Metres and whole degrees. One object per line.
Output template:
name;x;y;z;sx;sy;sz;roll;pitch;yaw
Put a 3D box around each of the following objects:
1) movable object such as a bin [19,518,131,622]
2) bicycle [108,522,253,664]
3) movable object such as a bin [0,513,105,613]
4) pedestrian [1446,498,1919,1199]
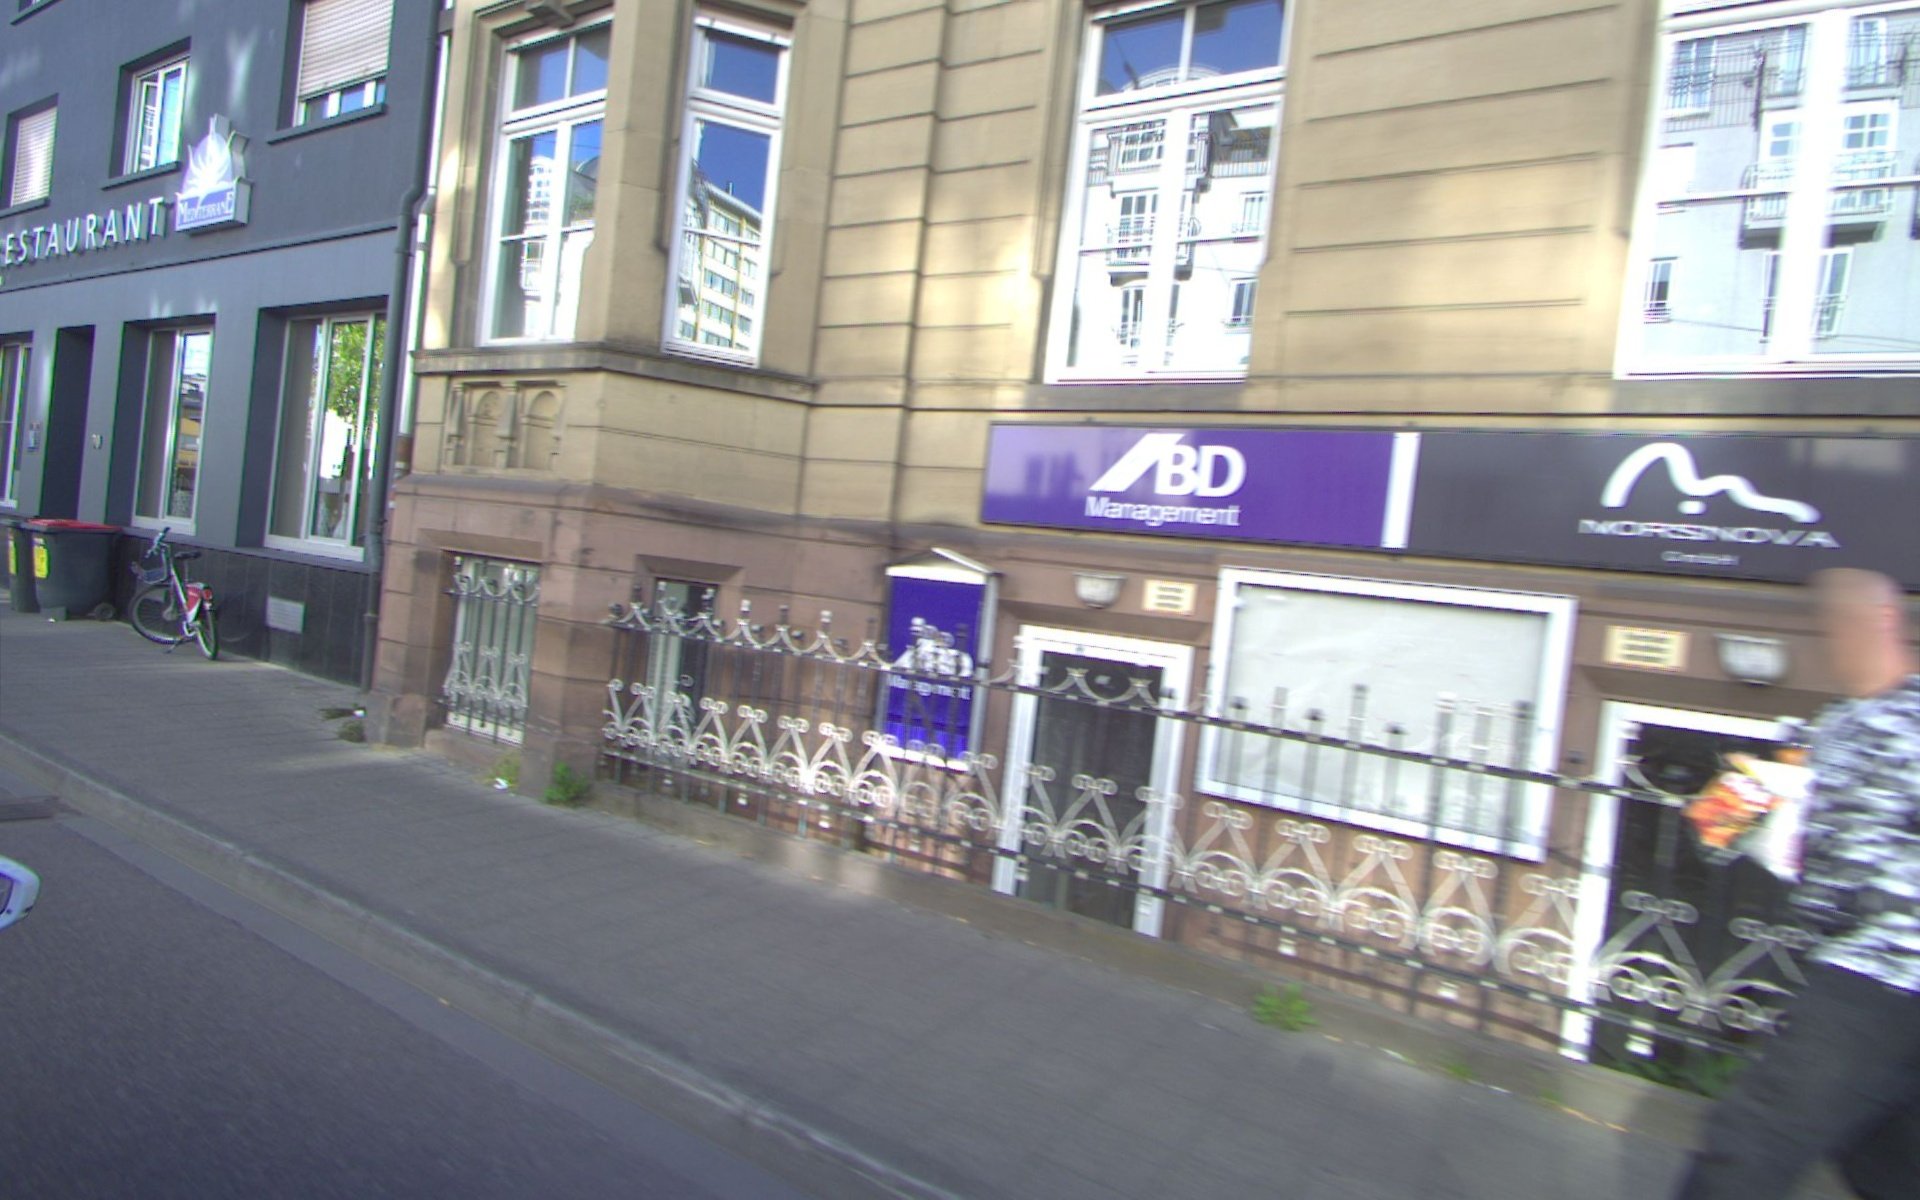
movable object such as a bin;-9.714;-0.333;11.048;0.741;1.051;0.748;7;5;32
bicycle;-7.319;-0.084;9.421;1.744;1.138;0.459;7;3;32
movable object such as a bin;-10.350;-0.417;11.447;0.741;1.051;0.748;7;5;32
pedestrian;1.783;0.762;2.203;1.074;1.772;0.781;9;2;29
